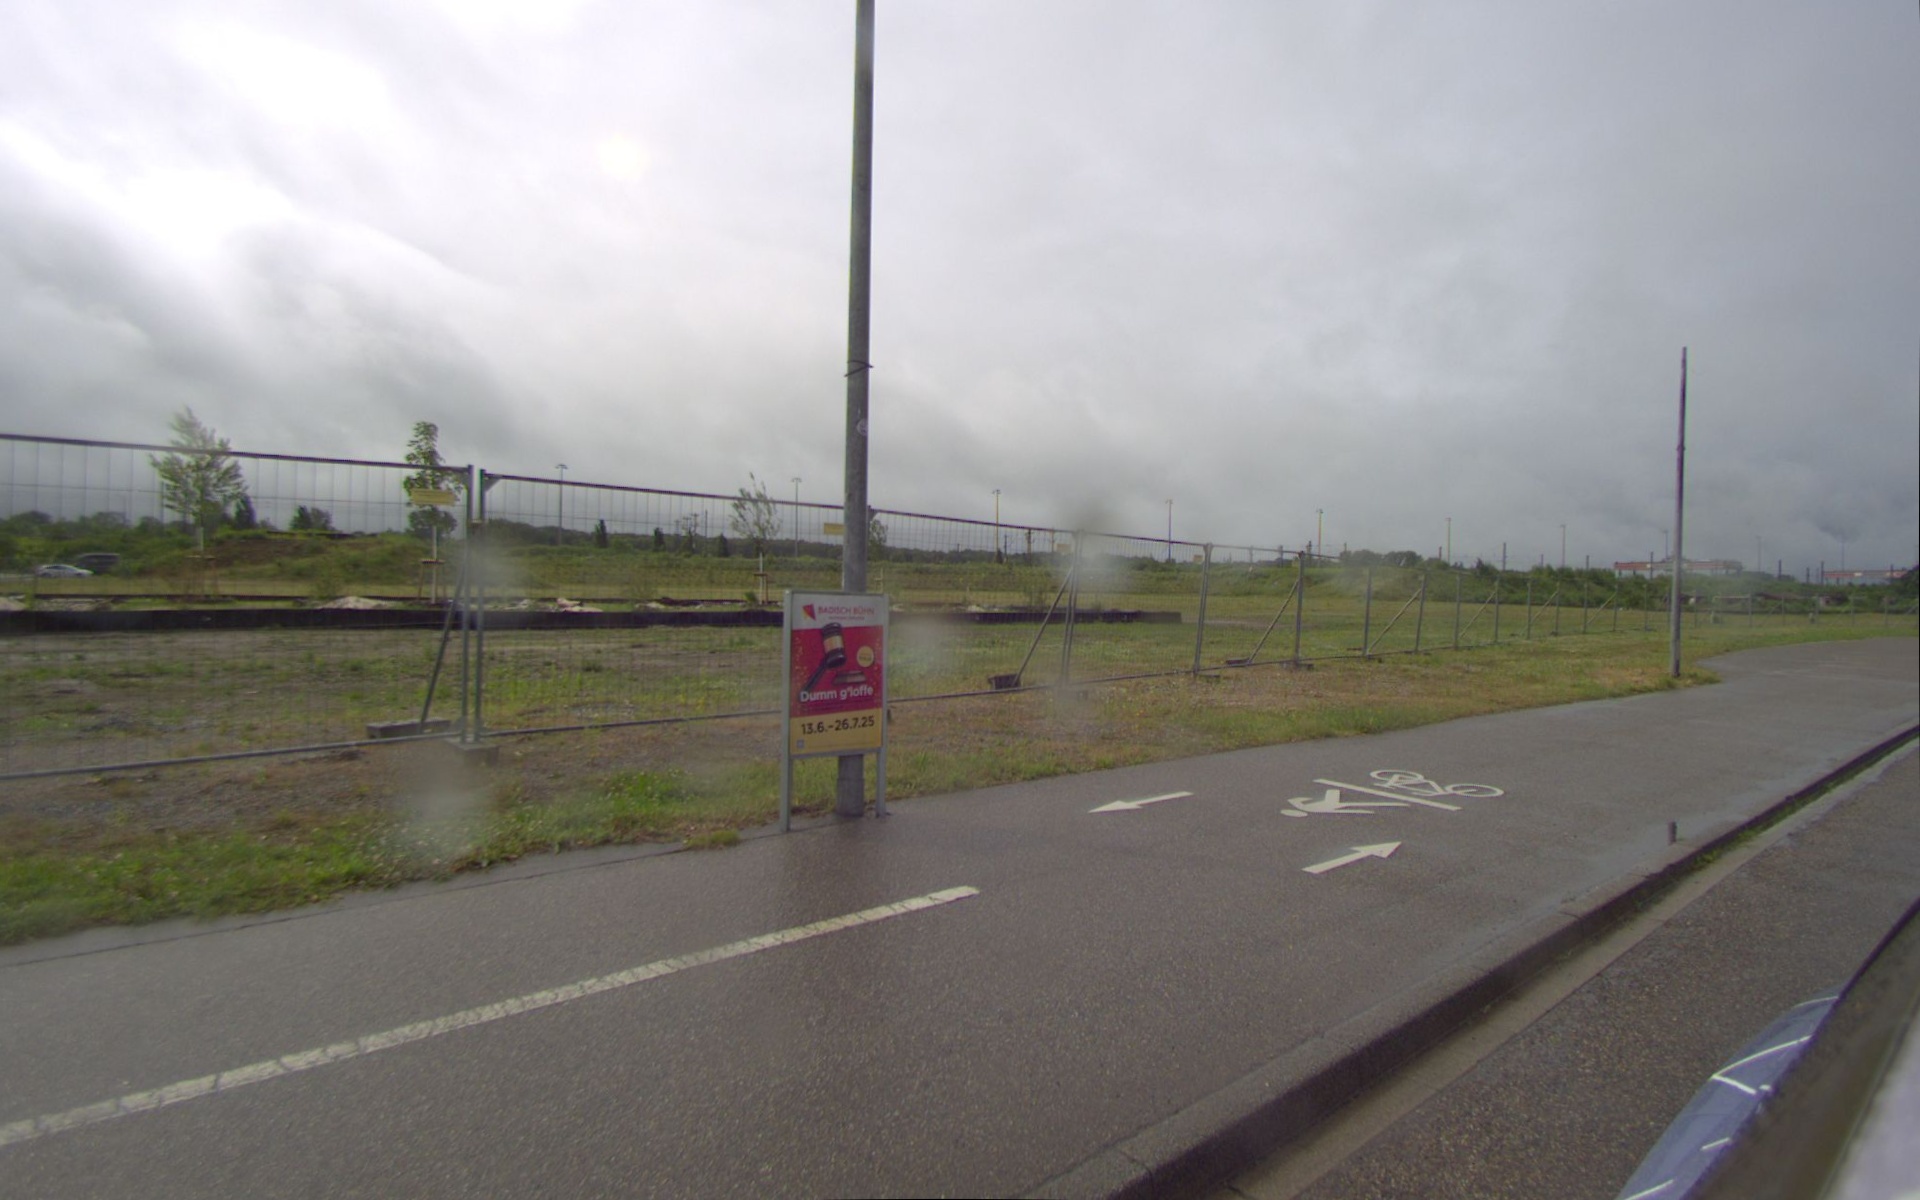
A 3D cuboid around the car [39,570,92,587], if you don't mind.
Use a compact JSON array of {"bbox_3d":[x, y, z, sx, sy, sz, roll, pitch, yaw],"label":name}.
[{"bbox_3d":[-91.915,-2.208,104.095,3.927,1.749,1.999,0,1,-38],"label":"car"}]
